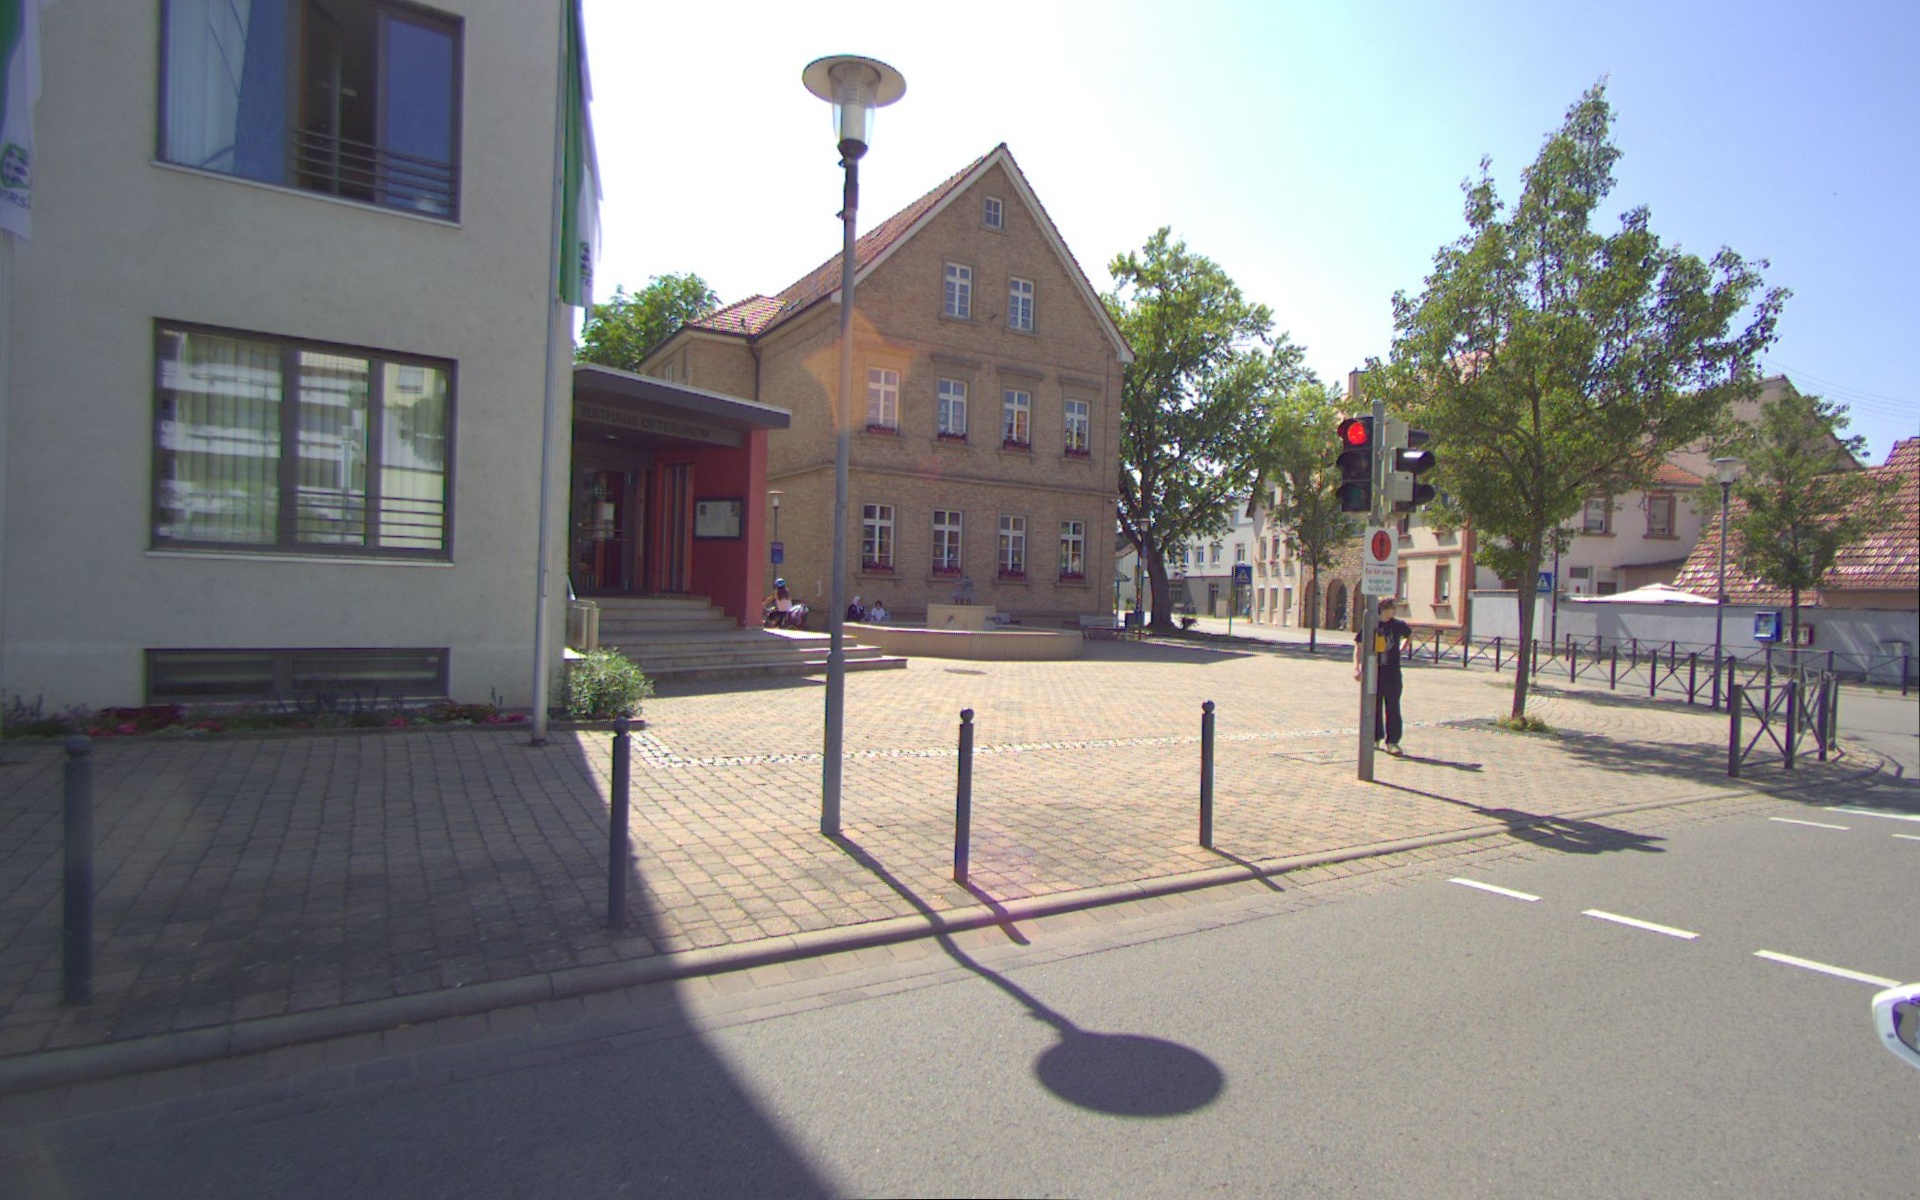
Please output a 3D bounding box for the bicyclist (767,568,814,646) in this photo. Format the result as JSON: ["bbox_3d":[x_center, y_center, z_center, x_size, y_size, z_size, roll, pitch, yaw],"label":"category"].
[{"bbox_3d":[-3.537,0.140,21.022,0.746,1.603,0.671,1,0,16],"label":"bicyclist"}]

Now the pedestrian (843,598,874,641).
[{"bbox_3d":[-2.871,0.542,28.387,0.611,1.186,0.636,2,0,-29],"label":"pedestrian"}]

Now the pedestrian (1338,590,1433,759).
[{"bbox_3d":[4.520,0.758,10.737,0.798,1.676,0.851,3,1,19],"label":"pedestrian"}]

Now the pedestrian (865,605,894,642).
[{"bbox_3d":[-2.326,0.672,28.947,0.611,1.041,0.636,1,1,-29],"label":"pedestrian"}]

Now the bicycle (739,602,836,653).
[{"bbox_3d":[-3.610,0.571,21.041,1.858,0.970,0.676,2,0,15],"label":"bicycle"}]
